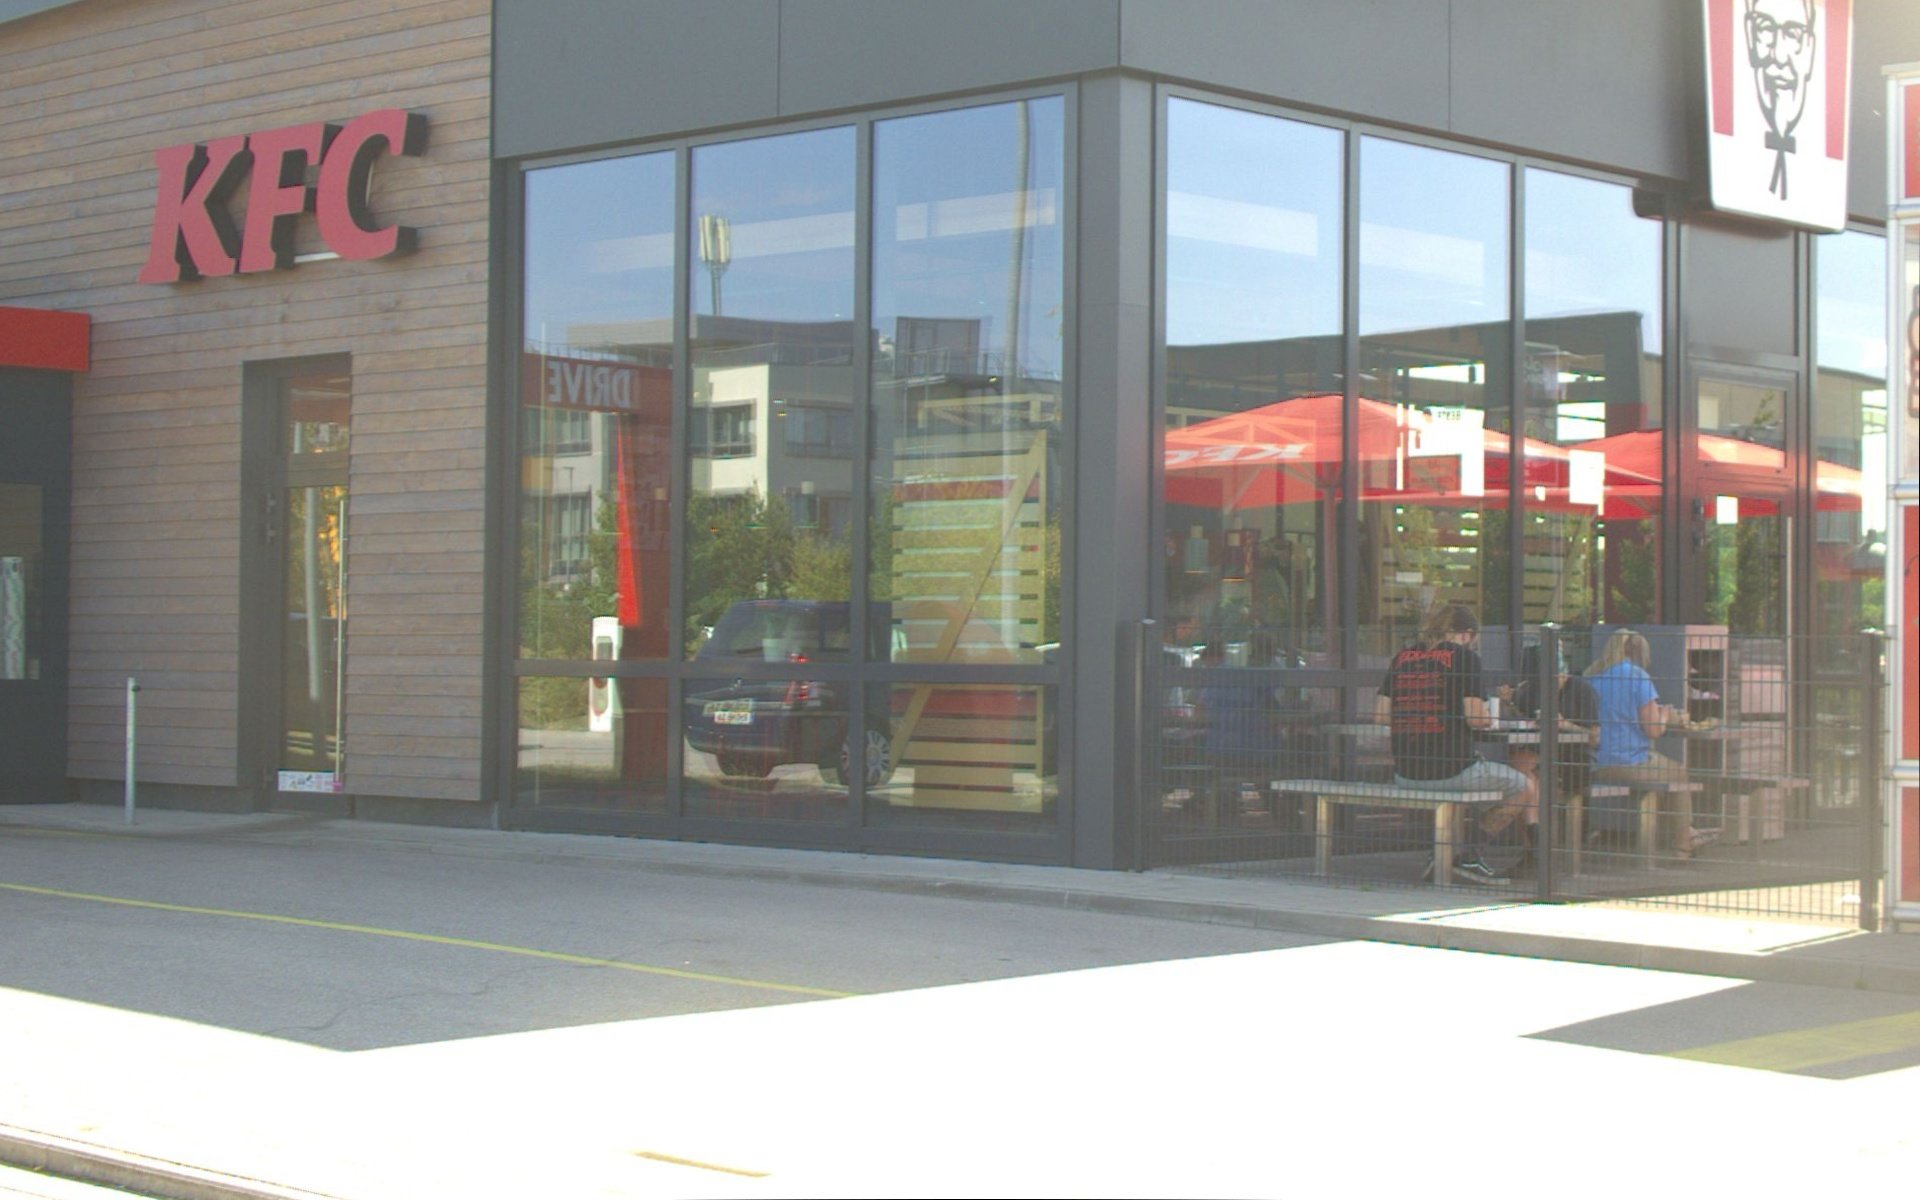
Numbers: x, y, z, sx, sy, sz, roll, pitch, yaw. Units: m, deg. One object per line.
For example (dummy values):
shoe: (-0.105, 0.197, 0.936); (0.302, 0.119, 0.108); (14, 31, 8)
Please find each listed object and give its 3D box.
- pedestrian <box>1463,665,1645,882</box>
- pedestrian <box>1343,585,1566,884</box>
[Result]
pedestrian: (3.064, 0.879, 17.723); (0.628, 1.068, 0.716); (1, 0, 41)
pedestrian: (2.468, 0.651, 17.140); (0.772, 1.430, 0.798); (1, 0, 41)
